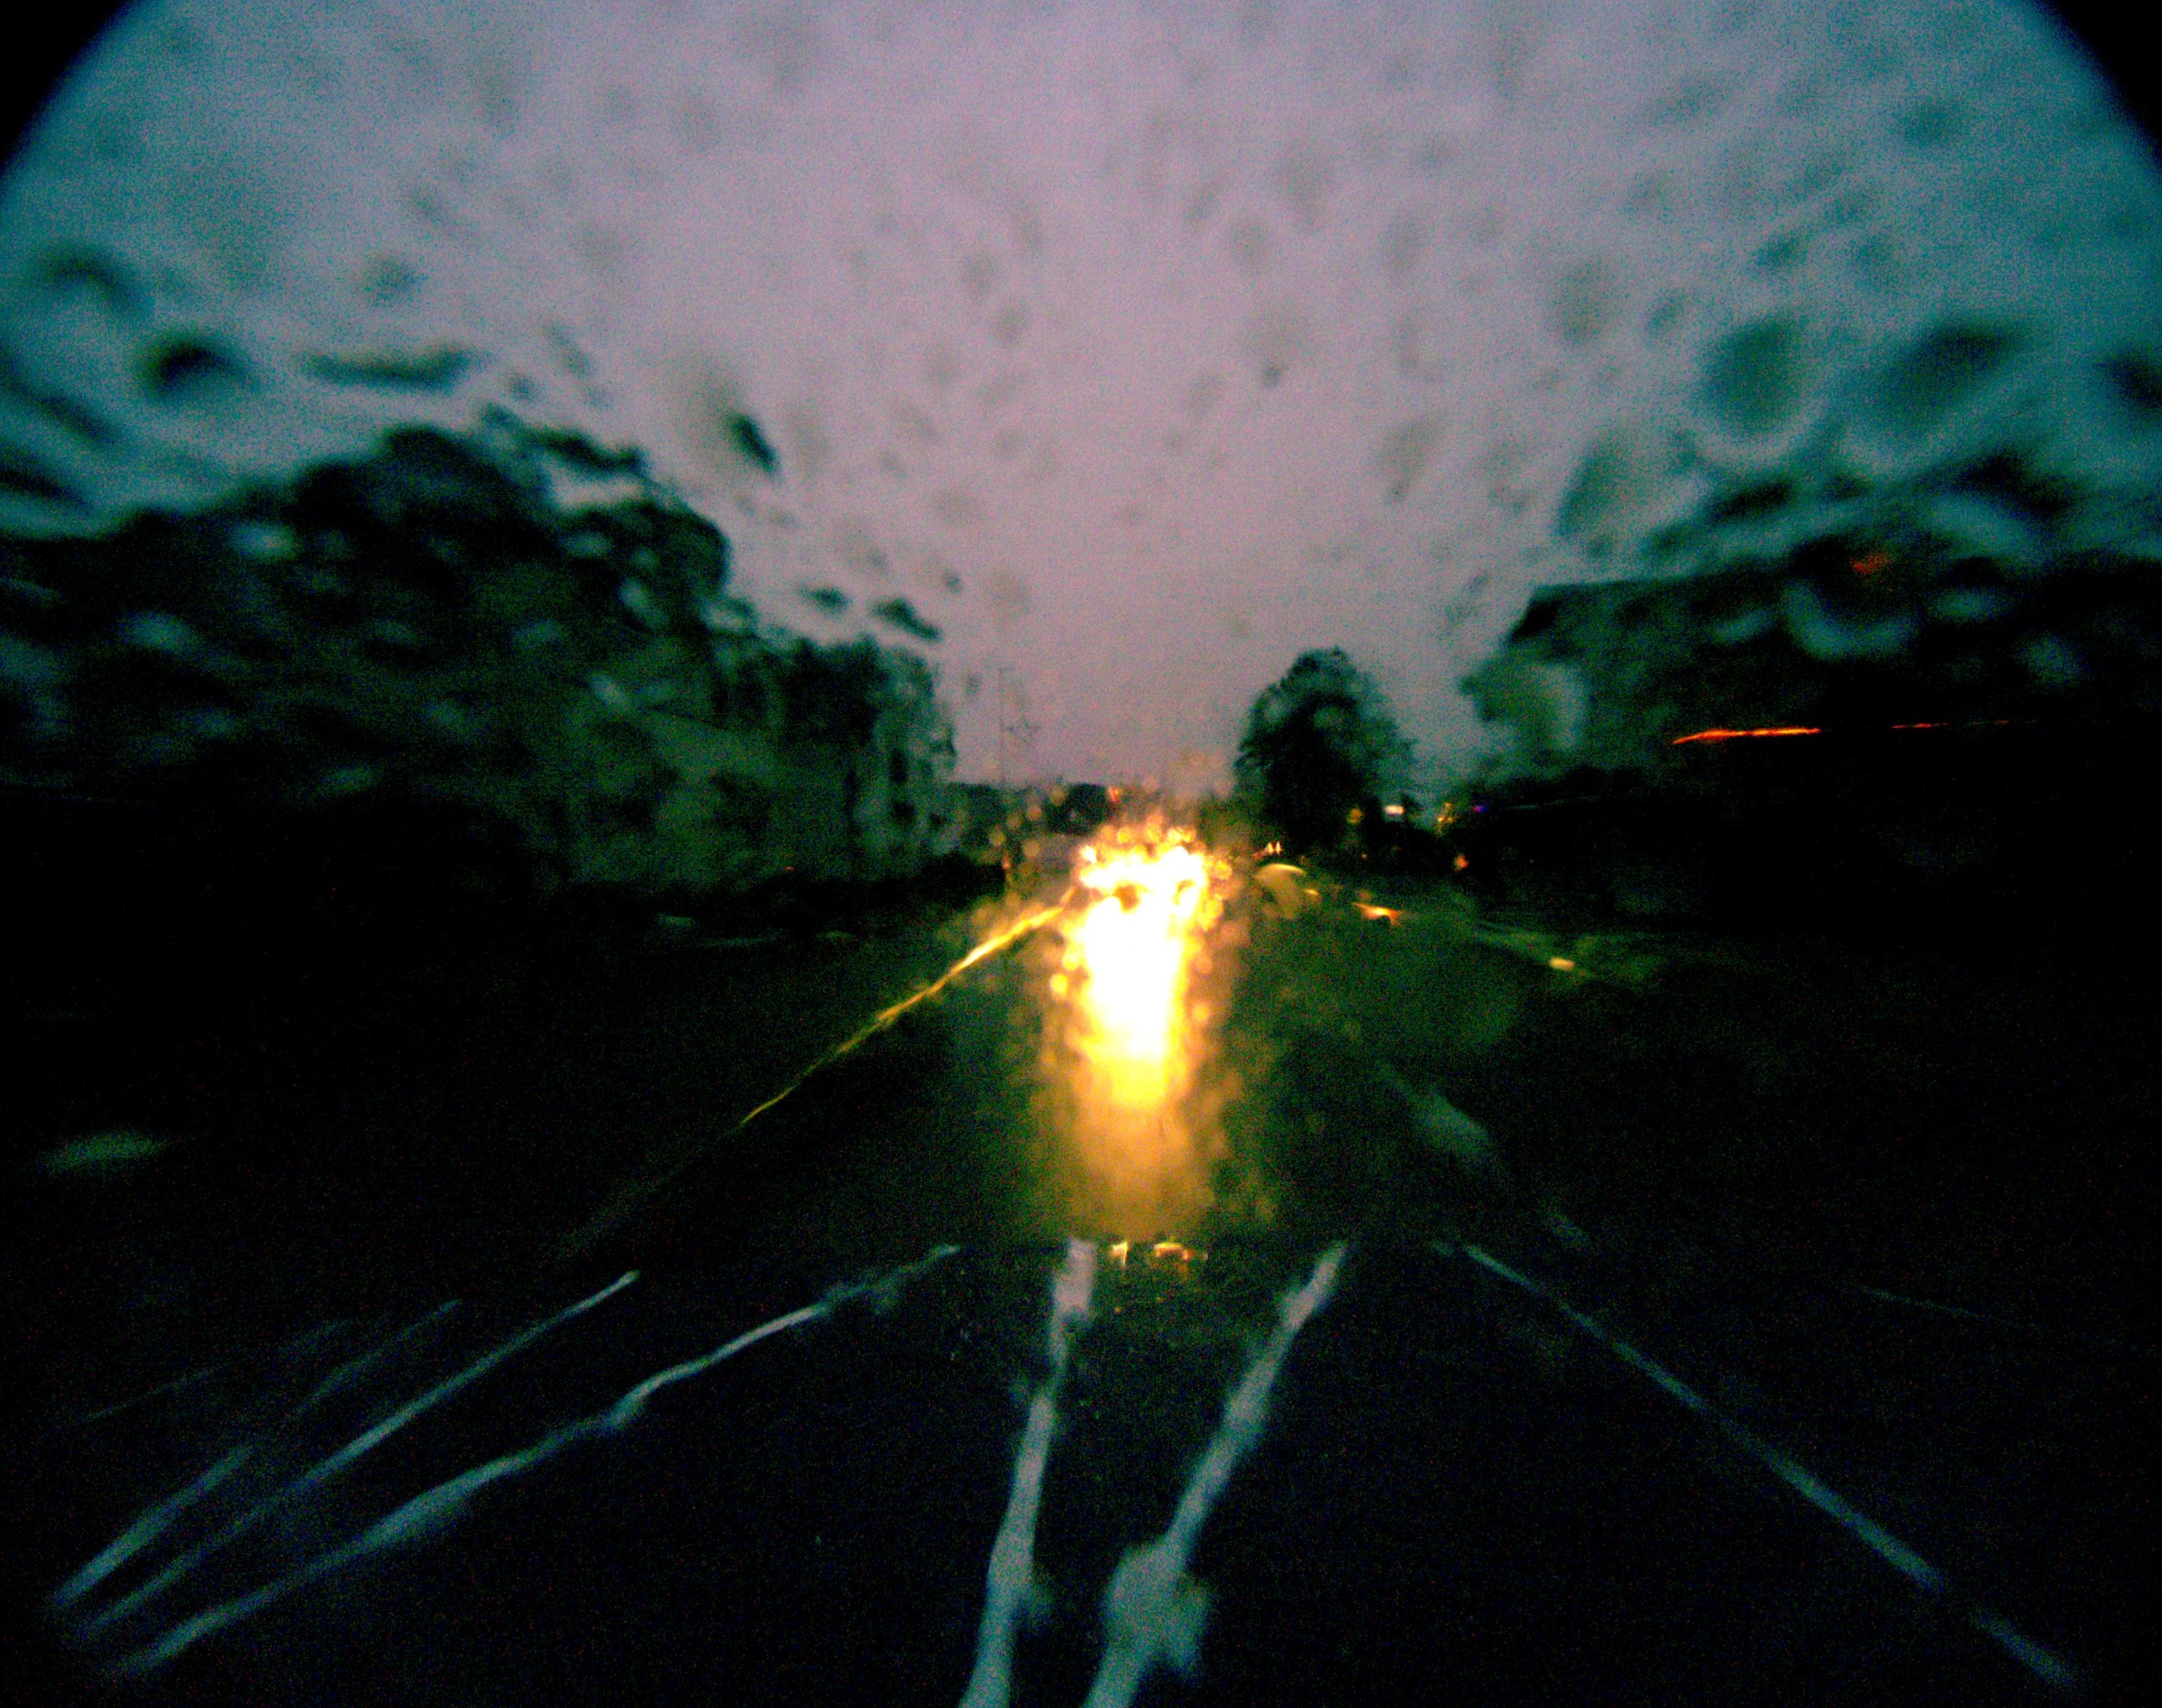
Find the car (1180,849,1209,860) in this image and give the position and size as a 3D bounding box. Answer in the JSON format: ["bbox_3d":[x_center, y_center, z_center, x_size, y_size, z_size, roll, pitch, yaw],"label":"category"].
[{"bbox_3d":[18.701,0.122,125.624,4.410,1.713,1.780,-1,0,25],"label":"car"}]

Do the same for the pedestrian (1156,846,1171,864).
[{"bbox_3d":[8.501,0.072,78.018,1.256,1.855,1.305,1,1,18],"label":"pedestrian"}]

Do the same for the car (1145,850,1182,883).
[{"bbox_3d":[4.796,0.696,44.281,1.897,1.689,4.242,-4,0,6],"label":"car"}]

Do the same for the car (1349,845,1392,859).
[{"bbox_3d":[37.475,-0.293,98.465,4.779,1.701,2.034,-1,0,8],"label":"car"}]

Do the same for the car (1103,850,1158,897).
[{"bbox_3d":[1.987,0.697,29.317,1.775,1.632,4.424,-1,0,8],"label":"car"}]

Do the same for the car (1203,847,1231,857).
[{"bbox_3d":[21.506,-0.300,120.304,4.177,1.432,1.800,-3,-1,14],"label":"car"}]

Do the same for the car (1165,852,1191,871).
[{"bbox_3d":[8.419,0.634,65.603,1.997,1.464,4.003,-2,0,10],"label":"car"}]
